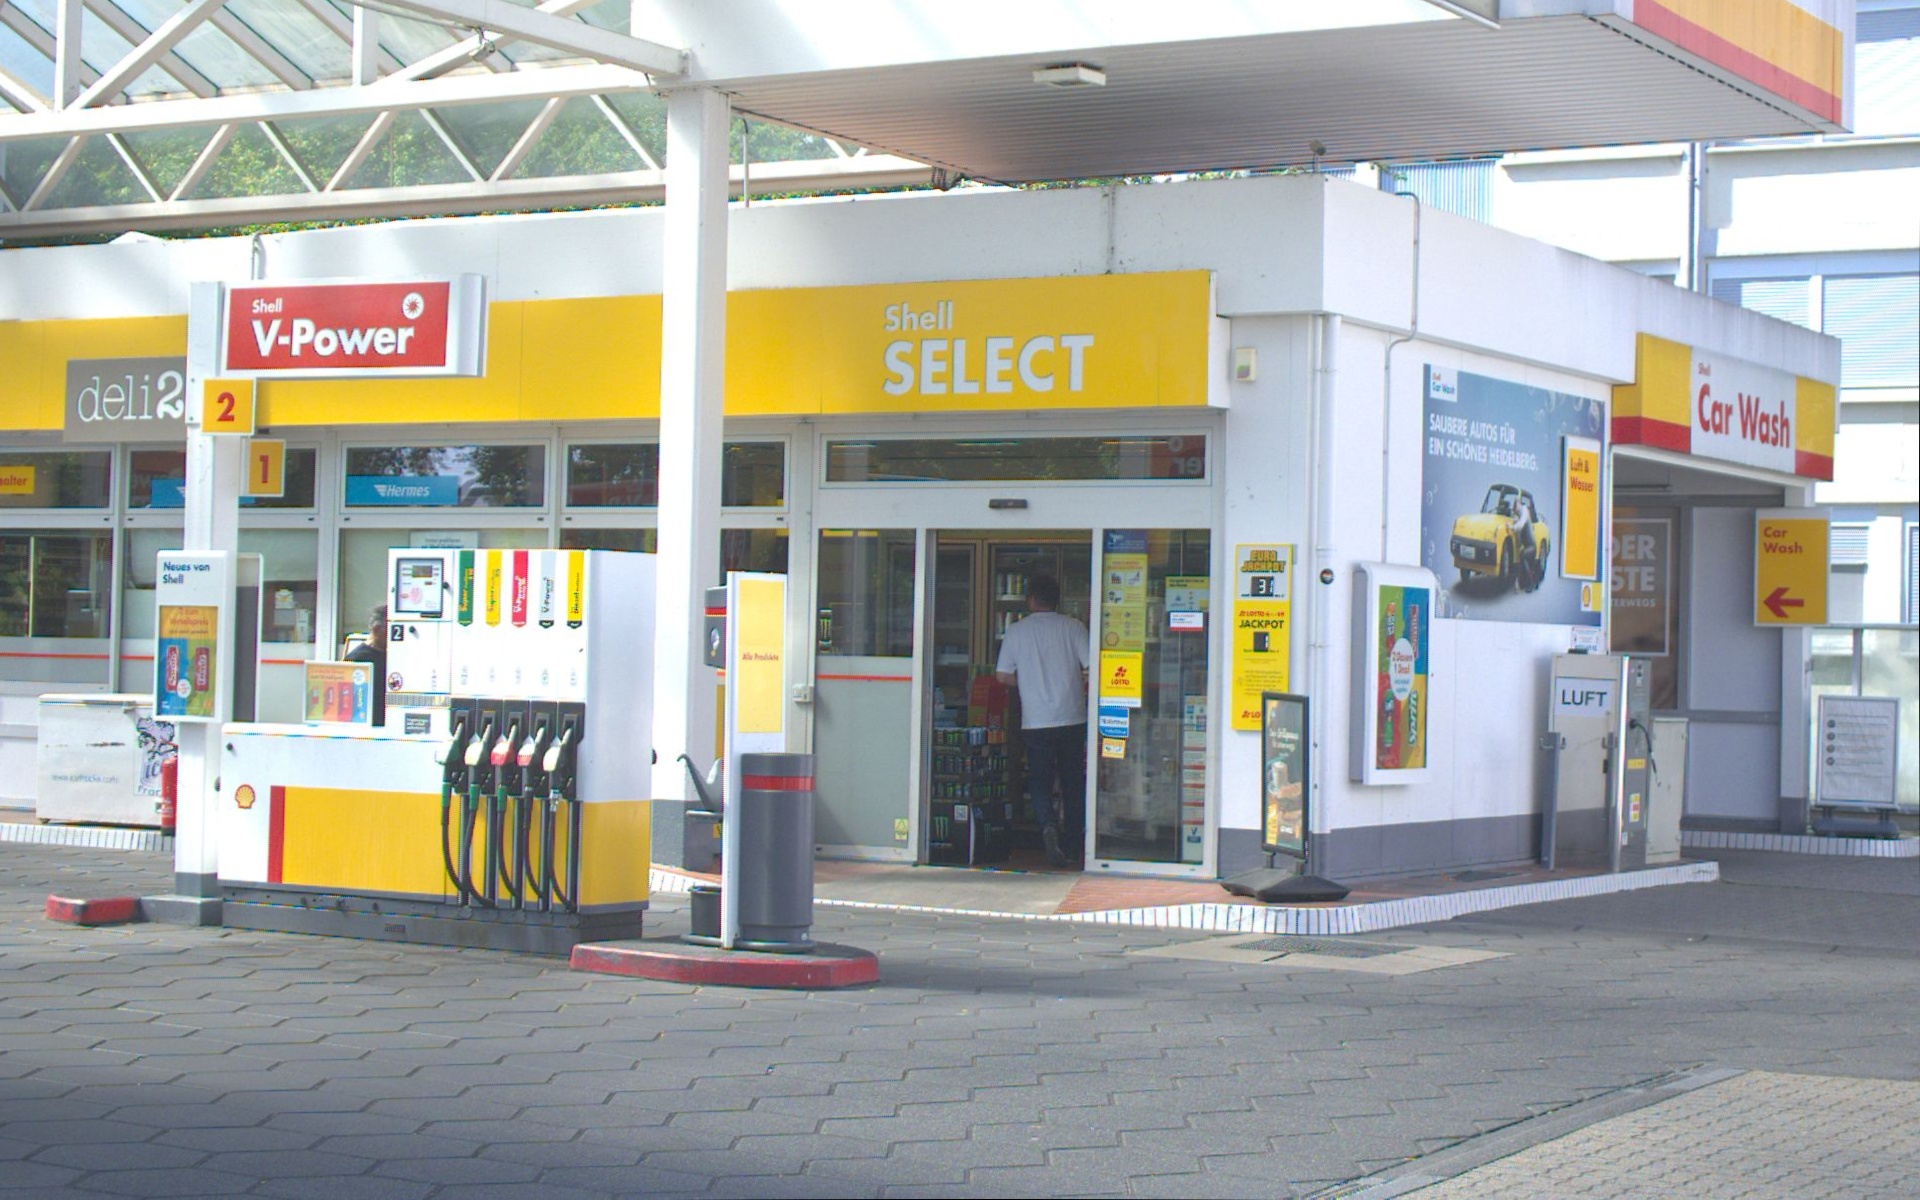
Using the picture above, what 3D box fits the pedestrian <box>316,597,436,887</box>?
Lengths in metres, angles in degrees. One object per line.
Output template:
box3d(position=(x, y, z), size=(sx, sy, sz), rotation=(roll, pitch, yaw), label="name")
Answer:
box3d(position=(-3.608, 0.872, 21.271), size=(0.529, 1.756, 0.573), rotation=(2, -1, 7), label="pedestrian")

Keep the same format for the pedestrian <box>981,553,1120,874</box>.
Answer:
box3d(position=(0.586, 0.719, 22.028), size=(0.622, 2.007, 0.742), rotation=(1, -1, 22), label="pedestrian")
